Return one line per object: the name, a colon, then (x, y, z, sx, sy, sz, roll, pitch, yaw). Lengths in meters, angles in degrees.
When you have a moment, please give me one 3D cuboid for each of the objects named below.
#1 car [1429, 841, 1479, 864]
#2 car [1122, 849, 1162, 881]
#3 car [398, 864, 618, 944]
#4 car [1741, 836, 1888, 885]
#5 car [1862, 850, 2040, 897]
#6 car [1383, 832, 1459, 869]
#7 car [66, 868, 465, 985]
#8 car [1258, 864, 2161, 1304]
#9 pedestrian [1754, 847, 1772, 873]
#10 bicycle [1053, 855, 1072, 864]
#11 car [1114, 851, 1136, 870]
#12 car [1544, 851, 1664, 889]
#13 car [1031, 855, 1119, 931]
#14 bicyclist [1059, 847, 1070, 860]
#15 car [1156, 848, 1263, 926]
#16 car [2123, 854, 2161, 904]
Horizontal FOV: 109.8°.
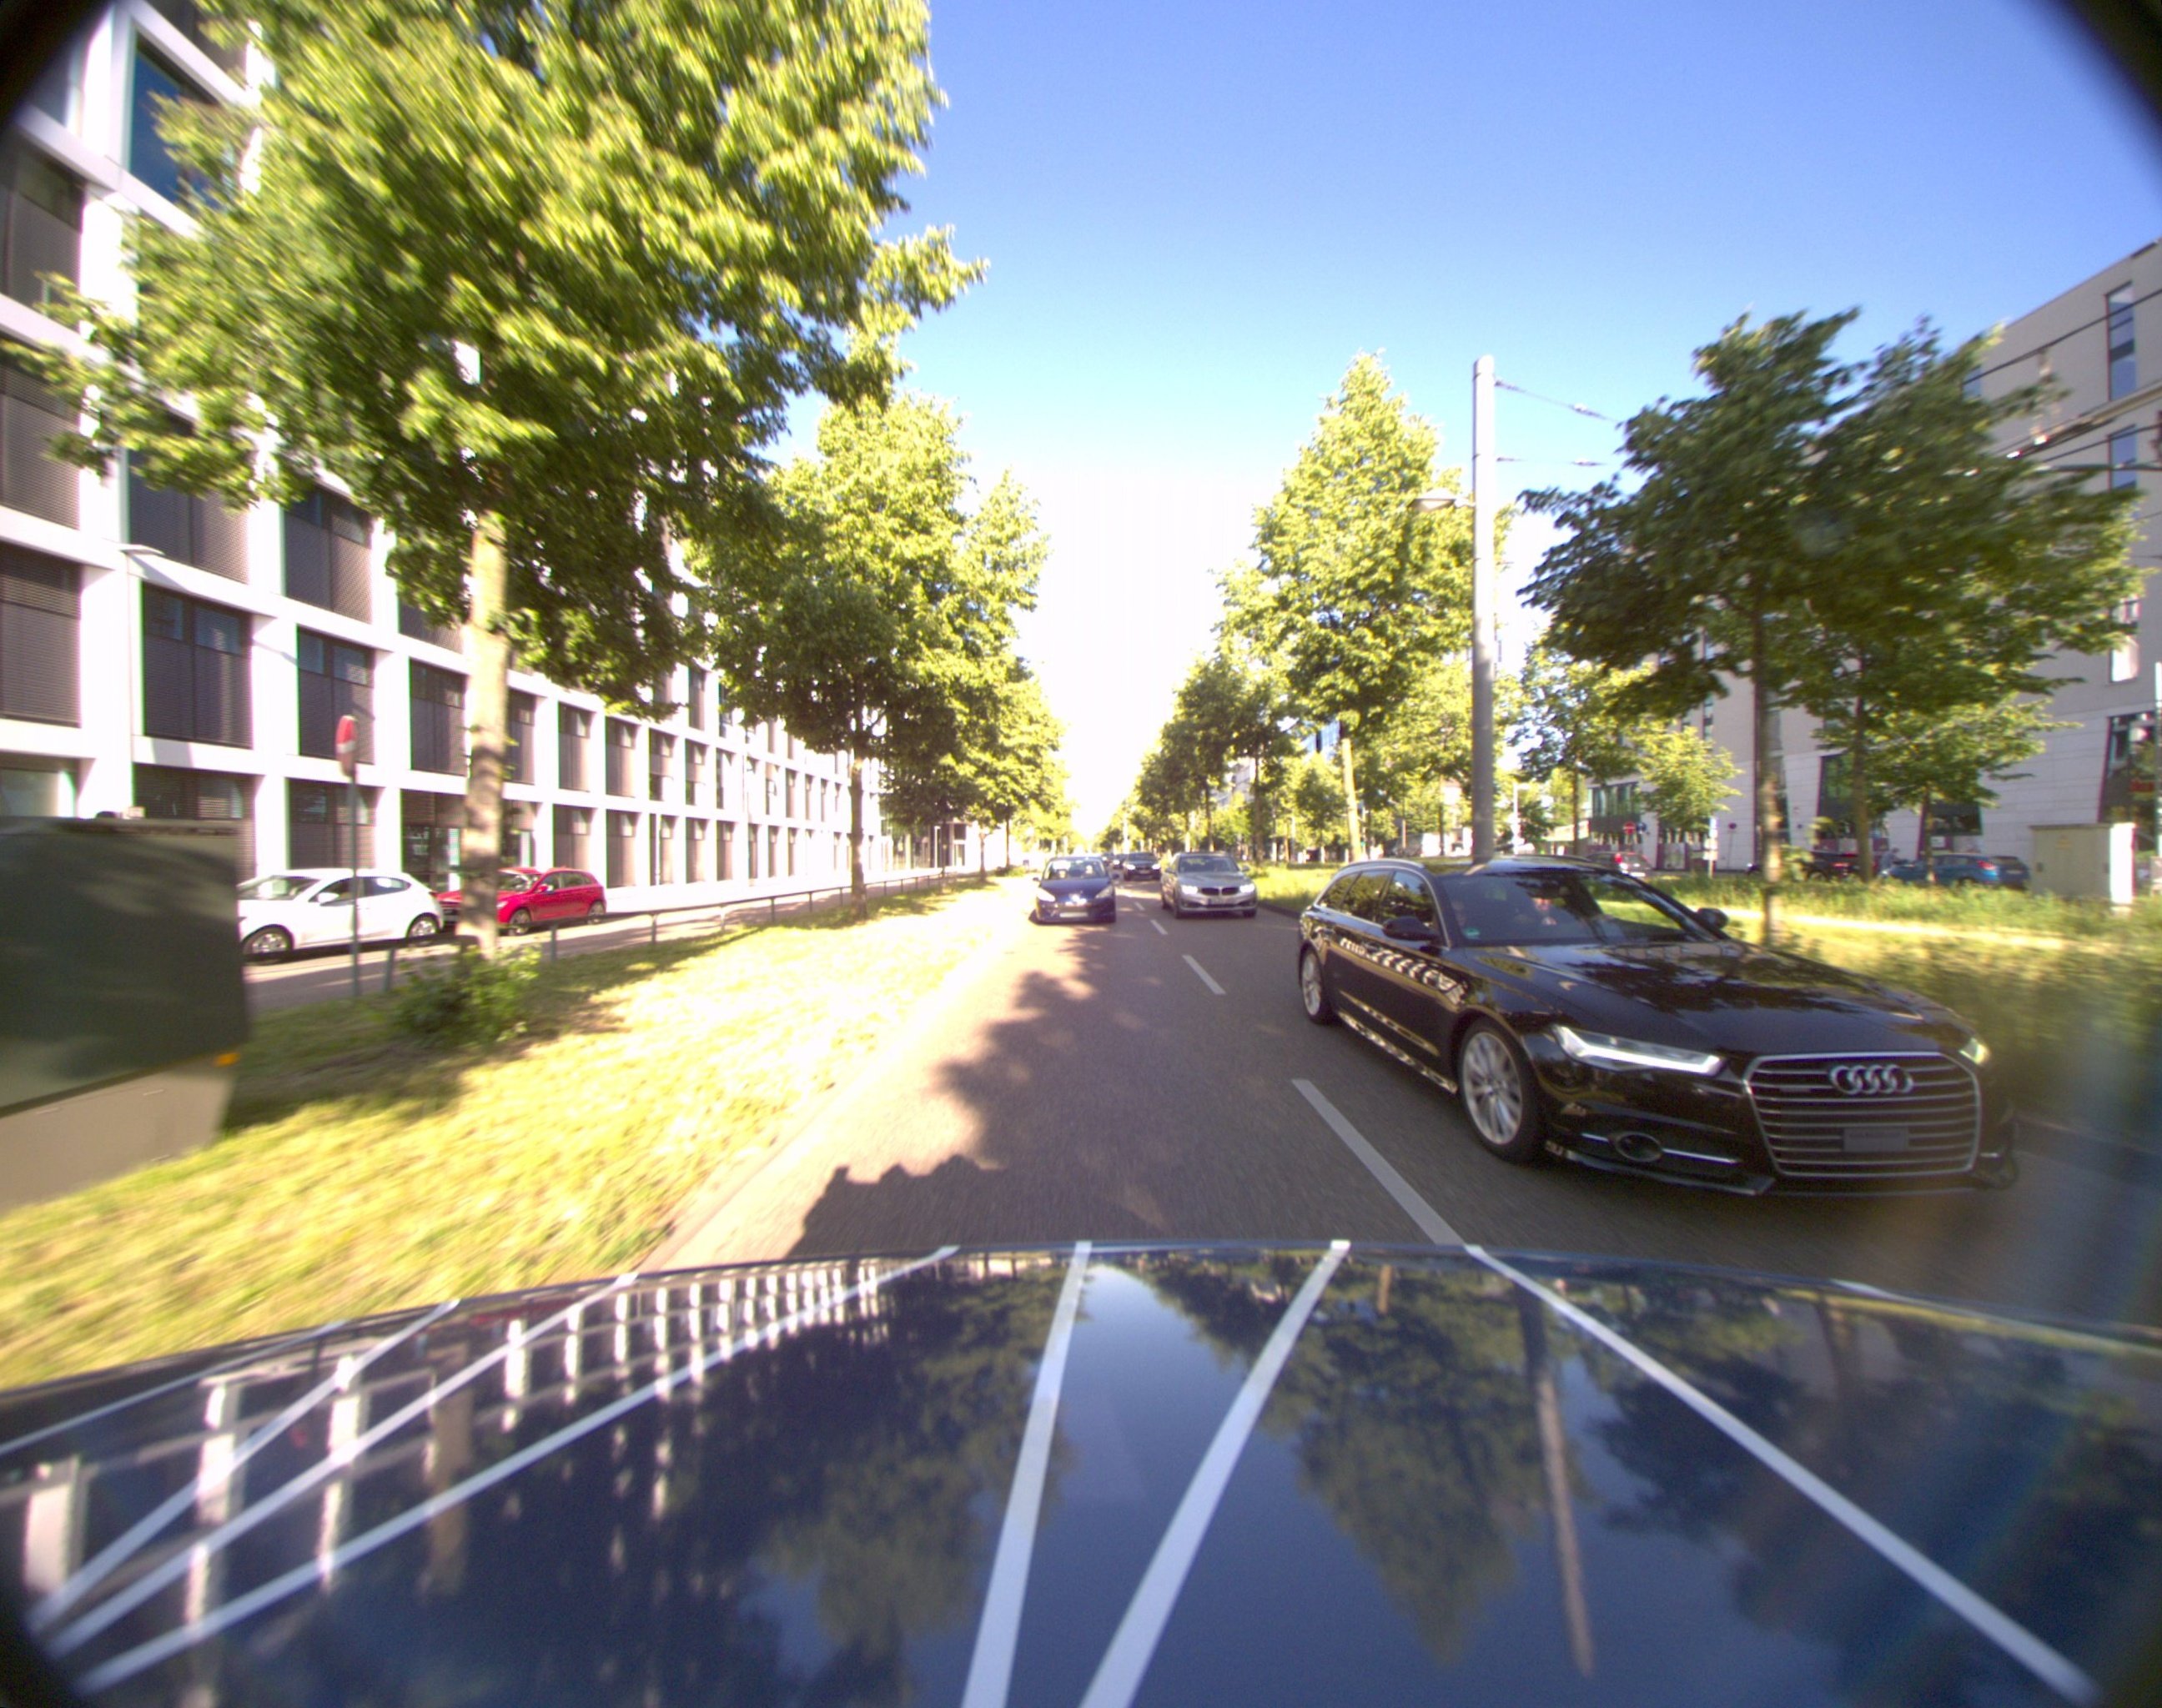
car: (32.779, -0.154, 66.902, 2.106, 1.798, 4.420, -2, 1, -1)
car: (3.228, 0.566, 40.678, 1.950, 1.514, 4.000, -2, 1, 3)
car: (-13.197, 1.065, 17.908, 1.869, 1.477, 4.272, 2, 1, 1)
car: (31.877, 0.254, 33.253, 1.999, 2.002, 4.553, -1, 0, -2)
car: (31.827, 0.661, 27.996, 1.998, 1.563, 4.000, -1, 0, 1)
car: (23.975, -0.282, 53.949, 2.512, 2.368, 6.026, -2, 1, -2)
car: (-13.523, 1.078, 13.115, 1.998, 1.477, 4.403, 2, 1, 4)
car: (2.820, 0.824, 5.170, 1.958, 1.471, 5.084, -1, -1, -1)
pedestrian: (38.438, 0.349, 42.811, 0.603, 1.451, 0.458, -2, 1, 4)
bicycle: (-1.924, 0.567, 80.398, 1.927, 0.899, 0.647, 0, 1, 4)
car: (3.879, 0.534, 67.537, 1.782, 1.571, 3.783, -2, 1, 1)
car: (22.756, 0.640, 33.322, 1.999, 1.433, 4.454, -2, 1, -3)
car: (-0.045, 0.808, 17.715, 1.766, 1.462, 4.000, -2, 1, 2)
bicyclist: (-1.788, -0.037, 80.391, 1.086, 1.315, 0.639, 0, 1, 4)
car: (2.949, 0.691, 18.325, 1.886, 1.569, 4.277, -2, 1, 1)
car: (31.705, 0.718, 20.287, 1.728, 1.405, 4.336, -1, 0, -2)
